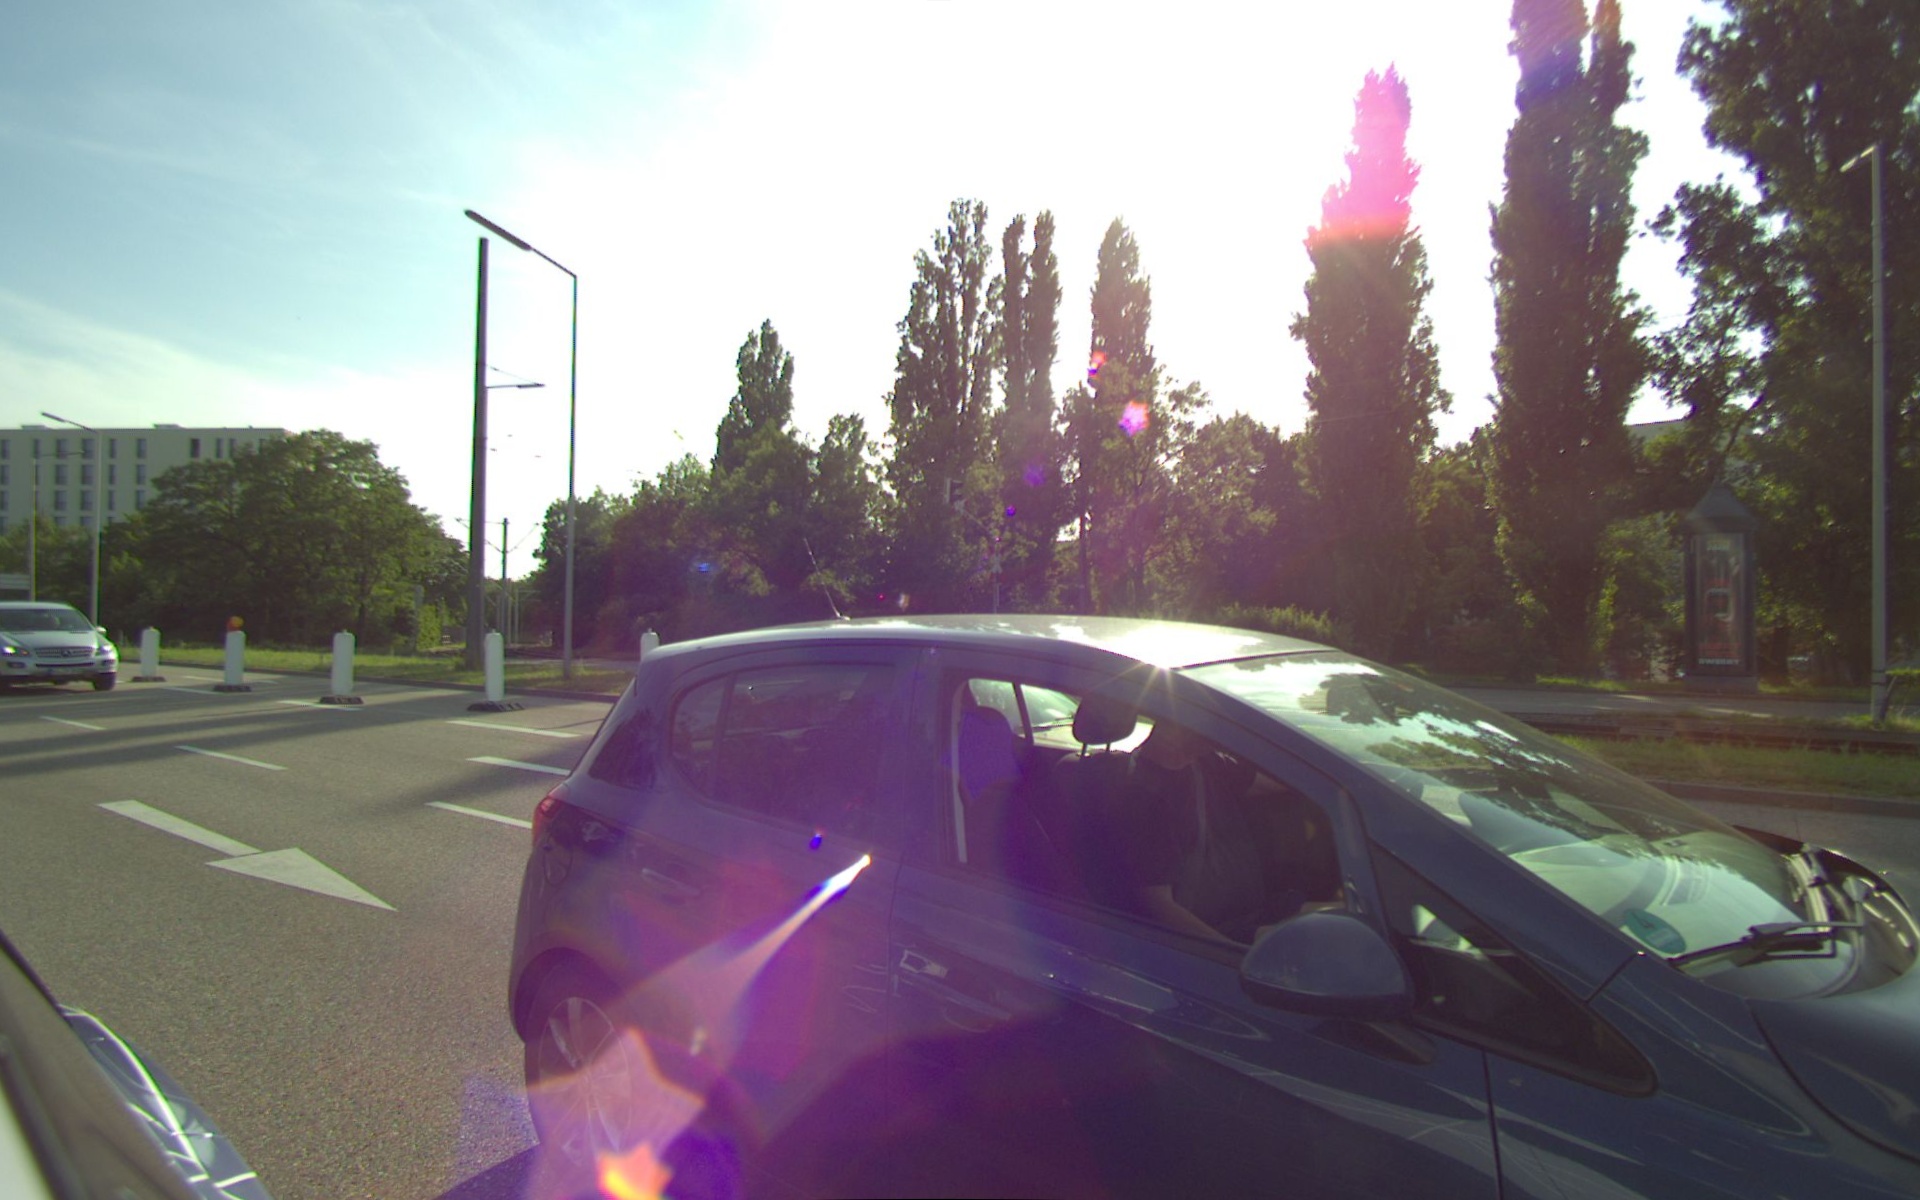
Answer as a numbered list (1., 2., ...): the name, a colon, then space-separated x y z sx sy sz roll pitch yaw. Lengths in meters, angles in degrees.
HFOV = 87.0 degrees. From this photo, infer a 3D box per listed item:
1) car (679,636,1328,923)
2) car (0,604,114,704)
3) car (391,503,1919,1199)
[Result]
1. car: 0.109 0.870 6.414 3.841 1.216 1.715 -1 -1 38
2. car: -19.005 1.043 20.590 4.349 1.837 1.878 -1 -1 38
3. car: 0.585 0.706 2.361 4.214 1.517 1.726 -1 -3 36
